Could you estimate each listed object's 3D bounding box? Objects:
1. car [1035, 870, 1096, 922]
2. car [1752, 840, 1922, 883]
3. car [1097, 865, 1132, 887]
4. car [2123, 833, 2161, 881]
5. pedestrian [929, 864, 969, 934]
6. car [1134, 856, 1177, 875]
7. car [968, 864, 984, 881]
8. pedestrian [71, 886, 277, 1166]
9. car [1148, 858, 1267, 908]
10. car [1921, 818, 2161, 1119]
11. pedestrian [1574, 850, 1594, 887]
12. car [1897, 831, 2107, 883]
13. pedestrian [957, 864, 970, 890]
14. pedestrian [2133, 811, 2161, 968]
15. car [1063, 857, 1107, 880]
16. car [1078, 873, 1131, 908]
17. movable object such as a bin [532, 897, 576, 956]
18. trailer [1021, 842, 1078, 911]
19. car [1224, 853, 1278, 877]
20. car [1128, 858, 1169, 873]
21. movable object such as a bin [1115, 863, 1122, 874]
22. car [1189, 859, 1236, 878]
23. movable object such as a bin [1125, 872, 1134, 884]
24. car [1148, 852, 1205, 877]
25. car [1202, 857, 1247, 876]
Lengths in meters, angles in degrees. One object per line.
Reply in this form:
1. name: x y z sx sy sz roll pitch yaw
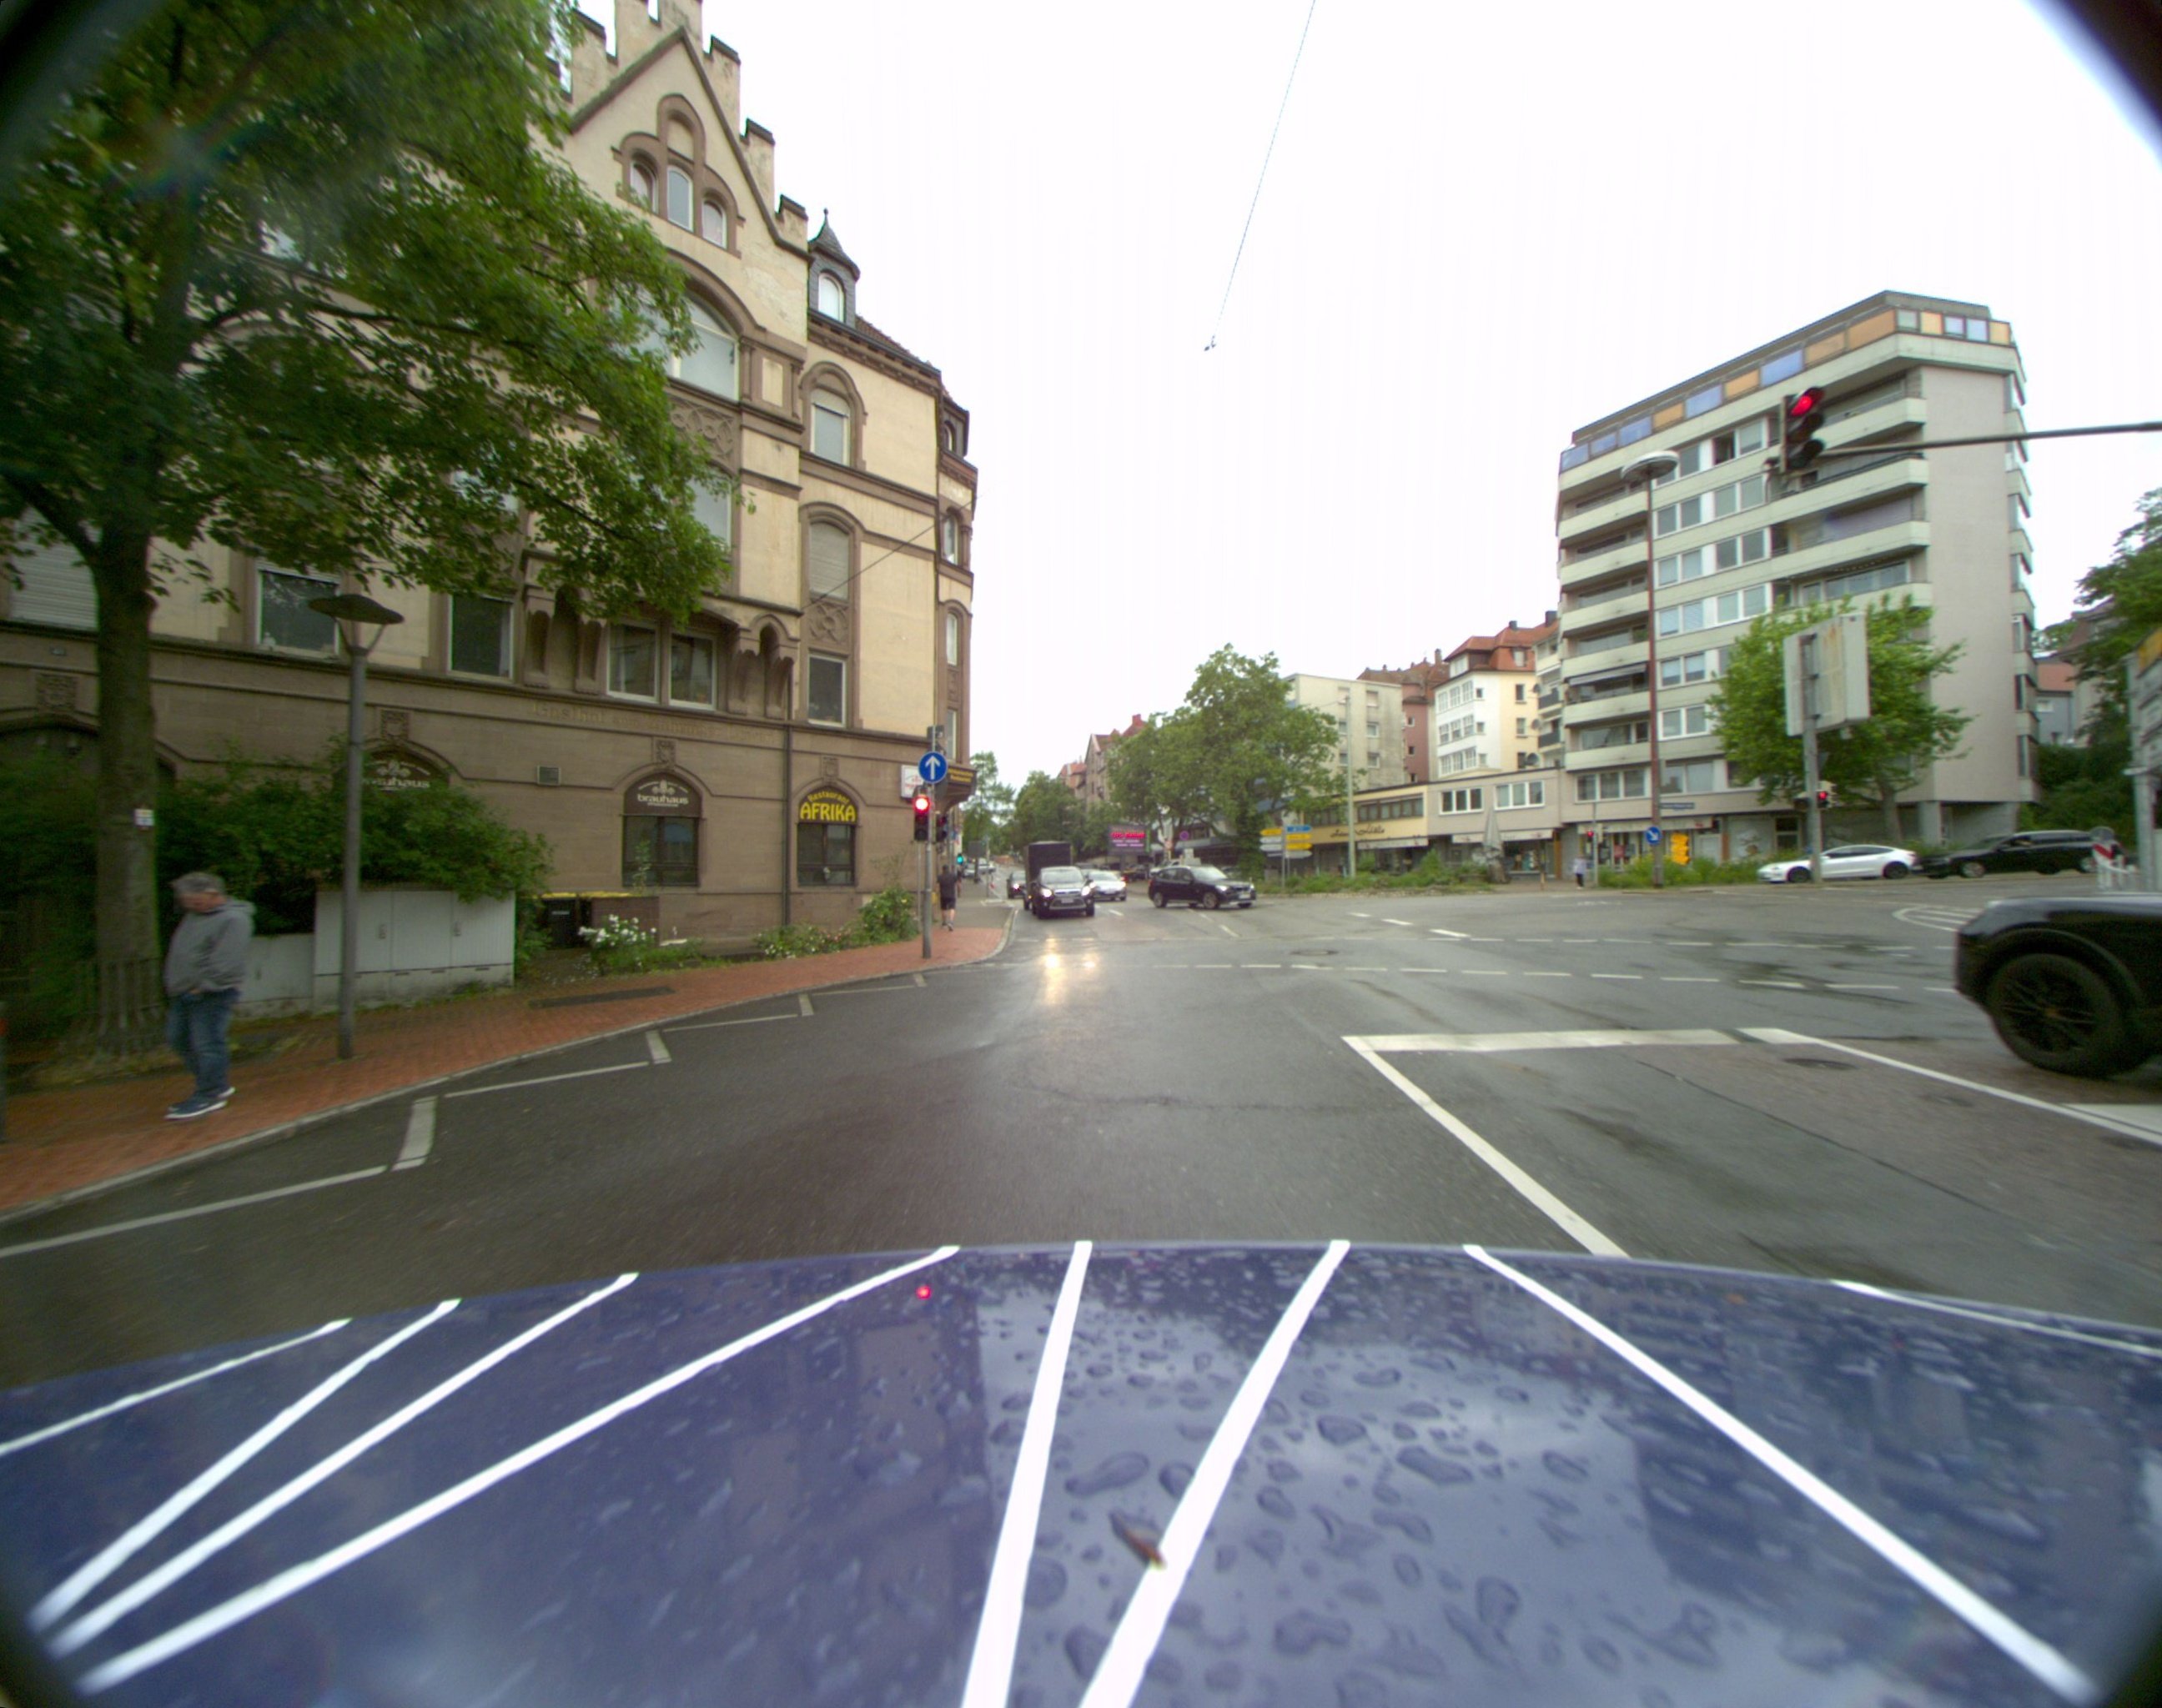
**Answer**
1. car: -0.572 1.335 25.410 1.863 1.503 3.681 -1 0 -3
2. car: 30.028 0.311 30.368 4.383 1.482 1.916 -3 0 21
3. car: 2.417 1.602 55.864 1.630 1.509 3.867 -2 0 -11
4. car: 35.942 0.015 23.492 4.015 1.482 1.770 -3 -2 21
5. pedestrian: -3.289 1.096 19.051 0.830 1.669 0.893 -3 0 -5
6. car: 7.271 1.106 74.143 3.841 1.680 1.802 -2 2 -28
7. car: -11.573 2.033 83.698 1.527 1.609 3.490 3 1 -9
8. pedestrian: -6.217 1.110 5.230 0.572 1.723 0.733 -3 0 26
9. car: 4.335 0.988 26.684 1.760 1.526 4.205 -2 0 -31
10. car: 6.913 0.655 3.148 1.968 1.683 4.809 -1 1 8
11. pedestrian: 23.580 0.672 35.618 0.626 1.683 0.618 -2 1 -43
12. car: 30.251 0.135 25.141 4.015 1.482 1.770 -3 -2 21
13. pedestrian: -8.766 1.714 56.686 0.699 1.938 1.090 -1 1 0
14. pedestrian: 11.981 0.371 7.986 0.638 1.692 0.829 -3 0 2
15. car: 0.324 1.232 65.266 1.751 1.835 4.136 -1 0 -33
16. car: 1.082 1.732 37.067 1.758 1.474 4.177 -2 0 -10
17. movable object such as a bin: -9.982 1.360 14.389 0.560 1.059 0.541 -3 0 -42
18. trailer: -1.393 0.878 31.769 1.939 2.621 4.681 -2 0 -7
19. car: 13.474 0.868 60.042 4.224 1.633 1.936 -3 1 -38
20. car: 6.907 1.177 77.212 3.842 1.397 1.687 -2 1 -30
21. movable object such as a bin: 3.434 1.315 68.757 0.485 0.896 0.545 -2 1 -12
22. car: 11.291 1.248 65.026 3.711 1.408 1.807 -3 1 -34
23. movable object such as a bin: 4.371 2.166 68.738 0.644 1.073 0.627 -2 1 -12
24. car: 8.730 0.930 69.377 4.983 1.966 1.876 -3 1 -29
25. car: 11.755 1.020 62.334 3.628 1.408 1.626 -3 1 -38
